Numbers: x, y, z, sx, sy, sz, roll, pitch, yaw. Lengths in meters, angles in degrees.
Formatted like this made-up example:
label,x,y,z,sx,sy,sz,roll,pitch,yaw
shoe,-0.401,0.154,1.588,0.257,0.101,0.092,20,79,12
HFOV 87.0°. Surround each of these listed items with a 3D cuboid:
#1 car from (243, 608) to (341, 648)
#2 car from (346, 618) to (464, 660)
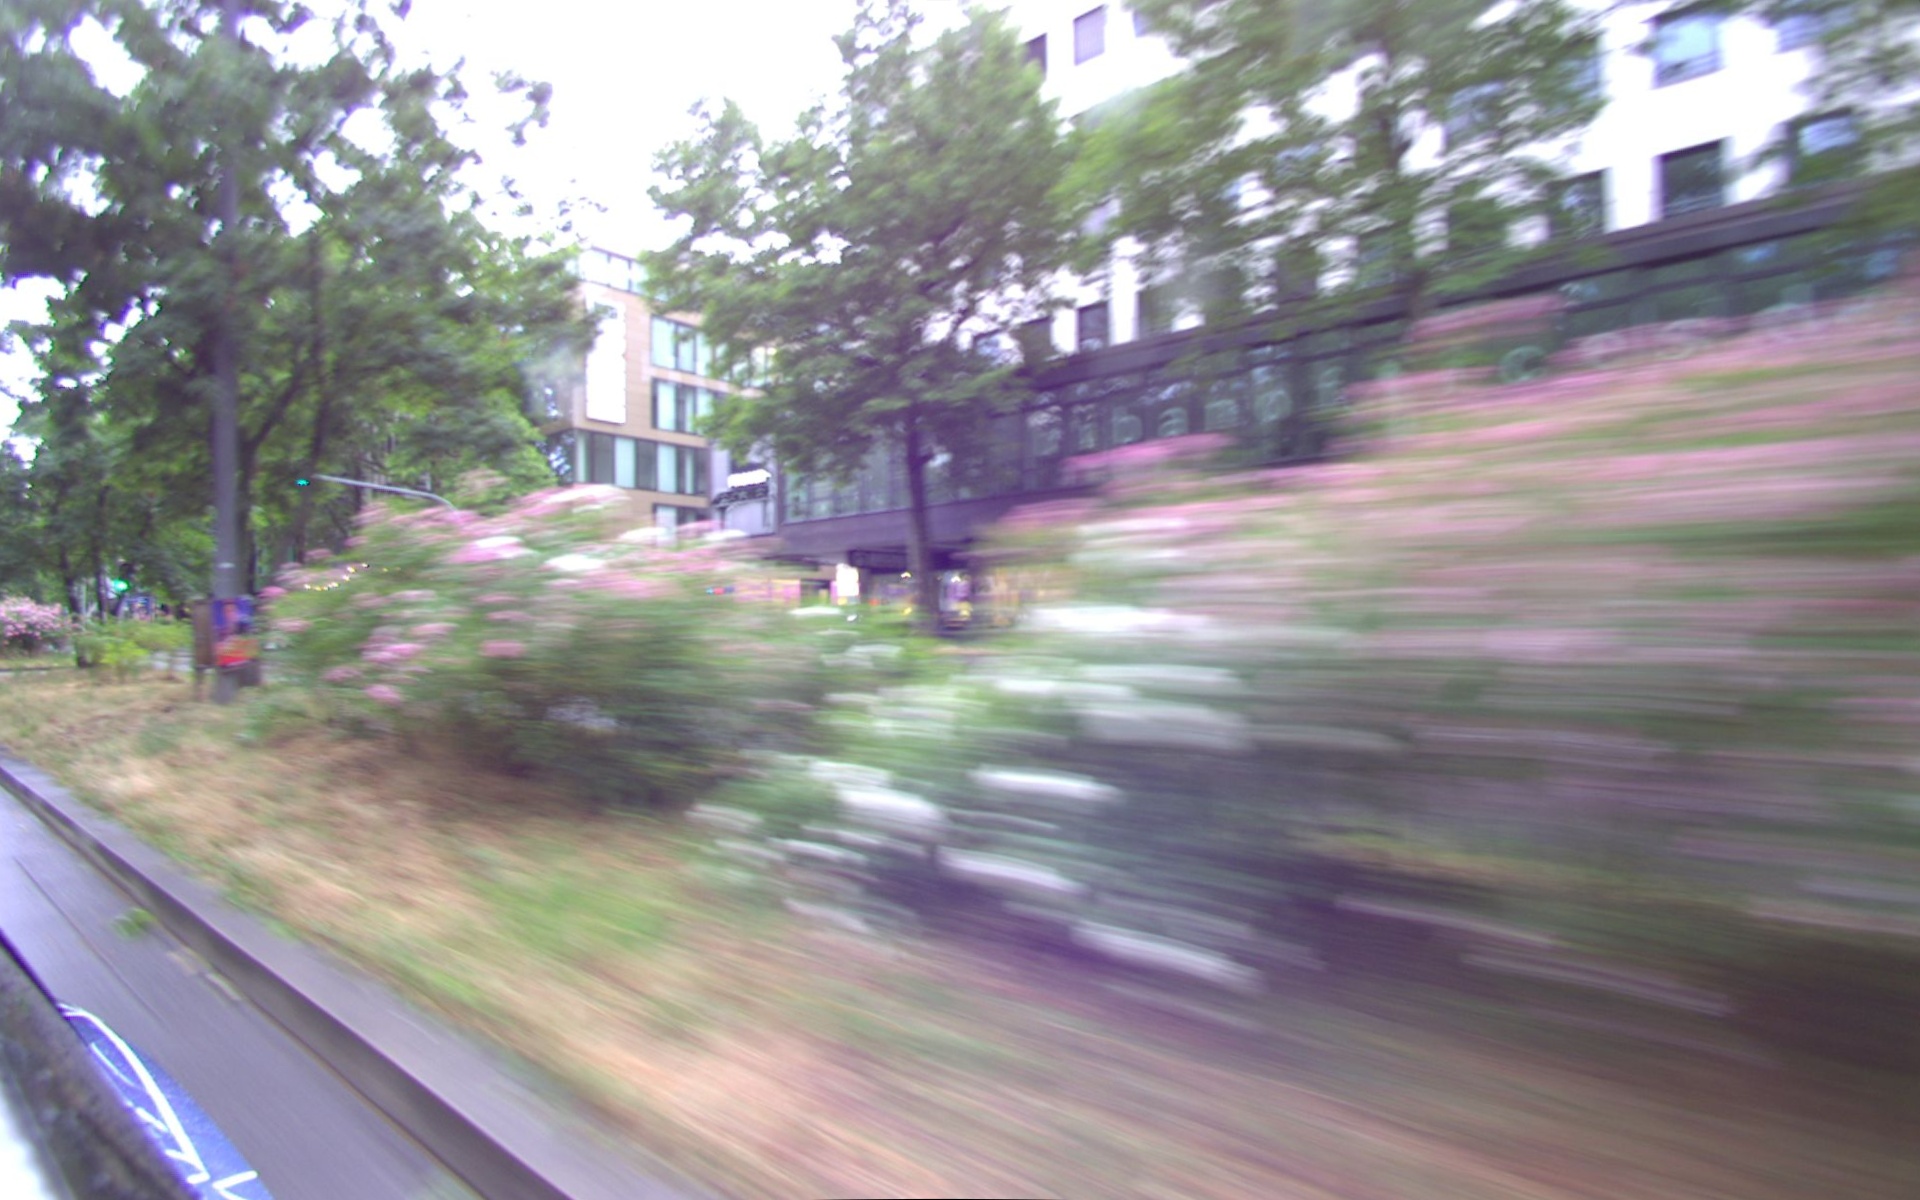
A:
label,x,y,z,sx,sy,sz,roll,pitch,yaw
car,-35.127,1.444,53.278,1.885,2.029,3.949,-2,-1,38
car,-23.299,1.617,42.601,1.886,1.608,3.947,-2,-1,40
